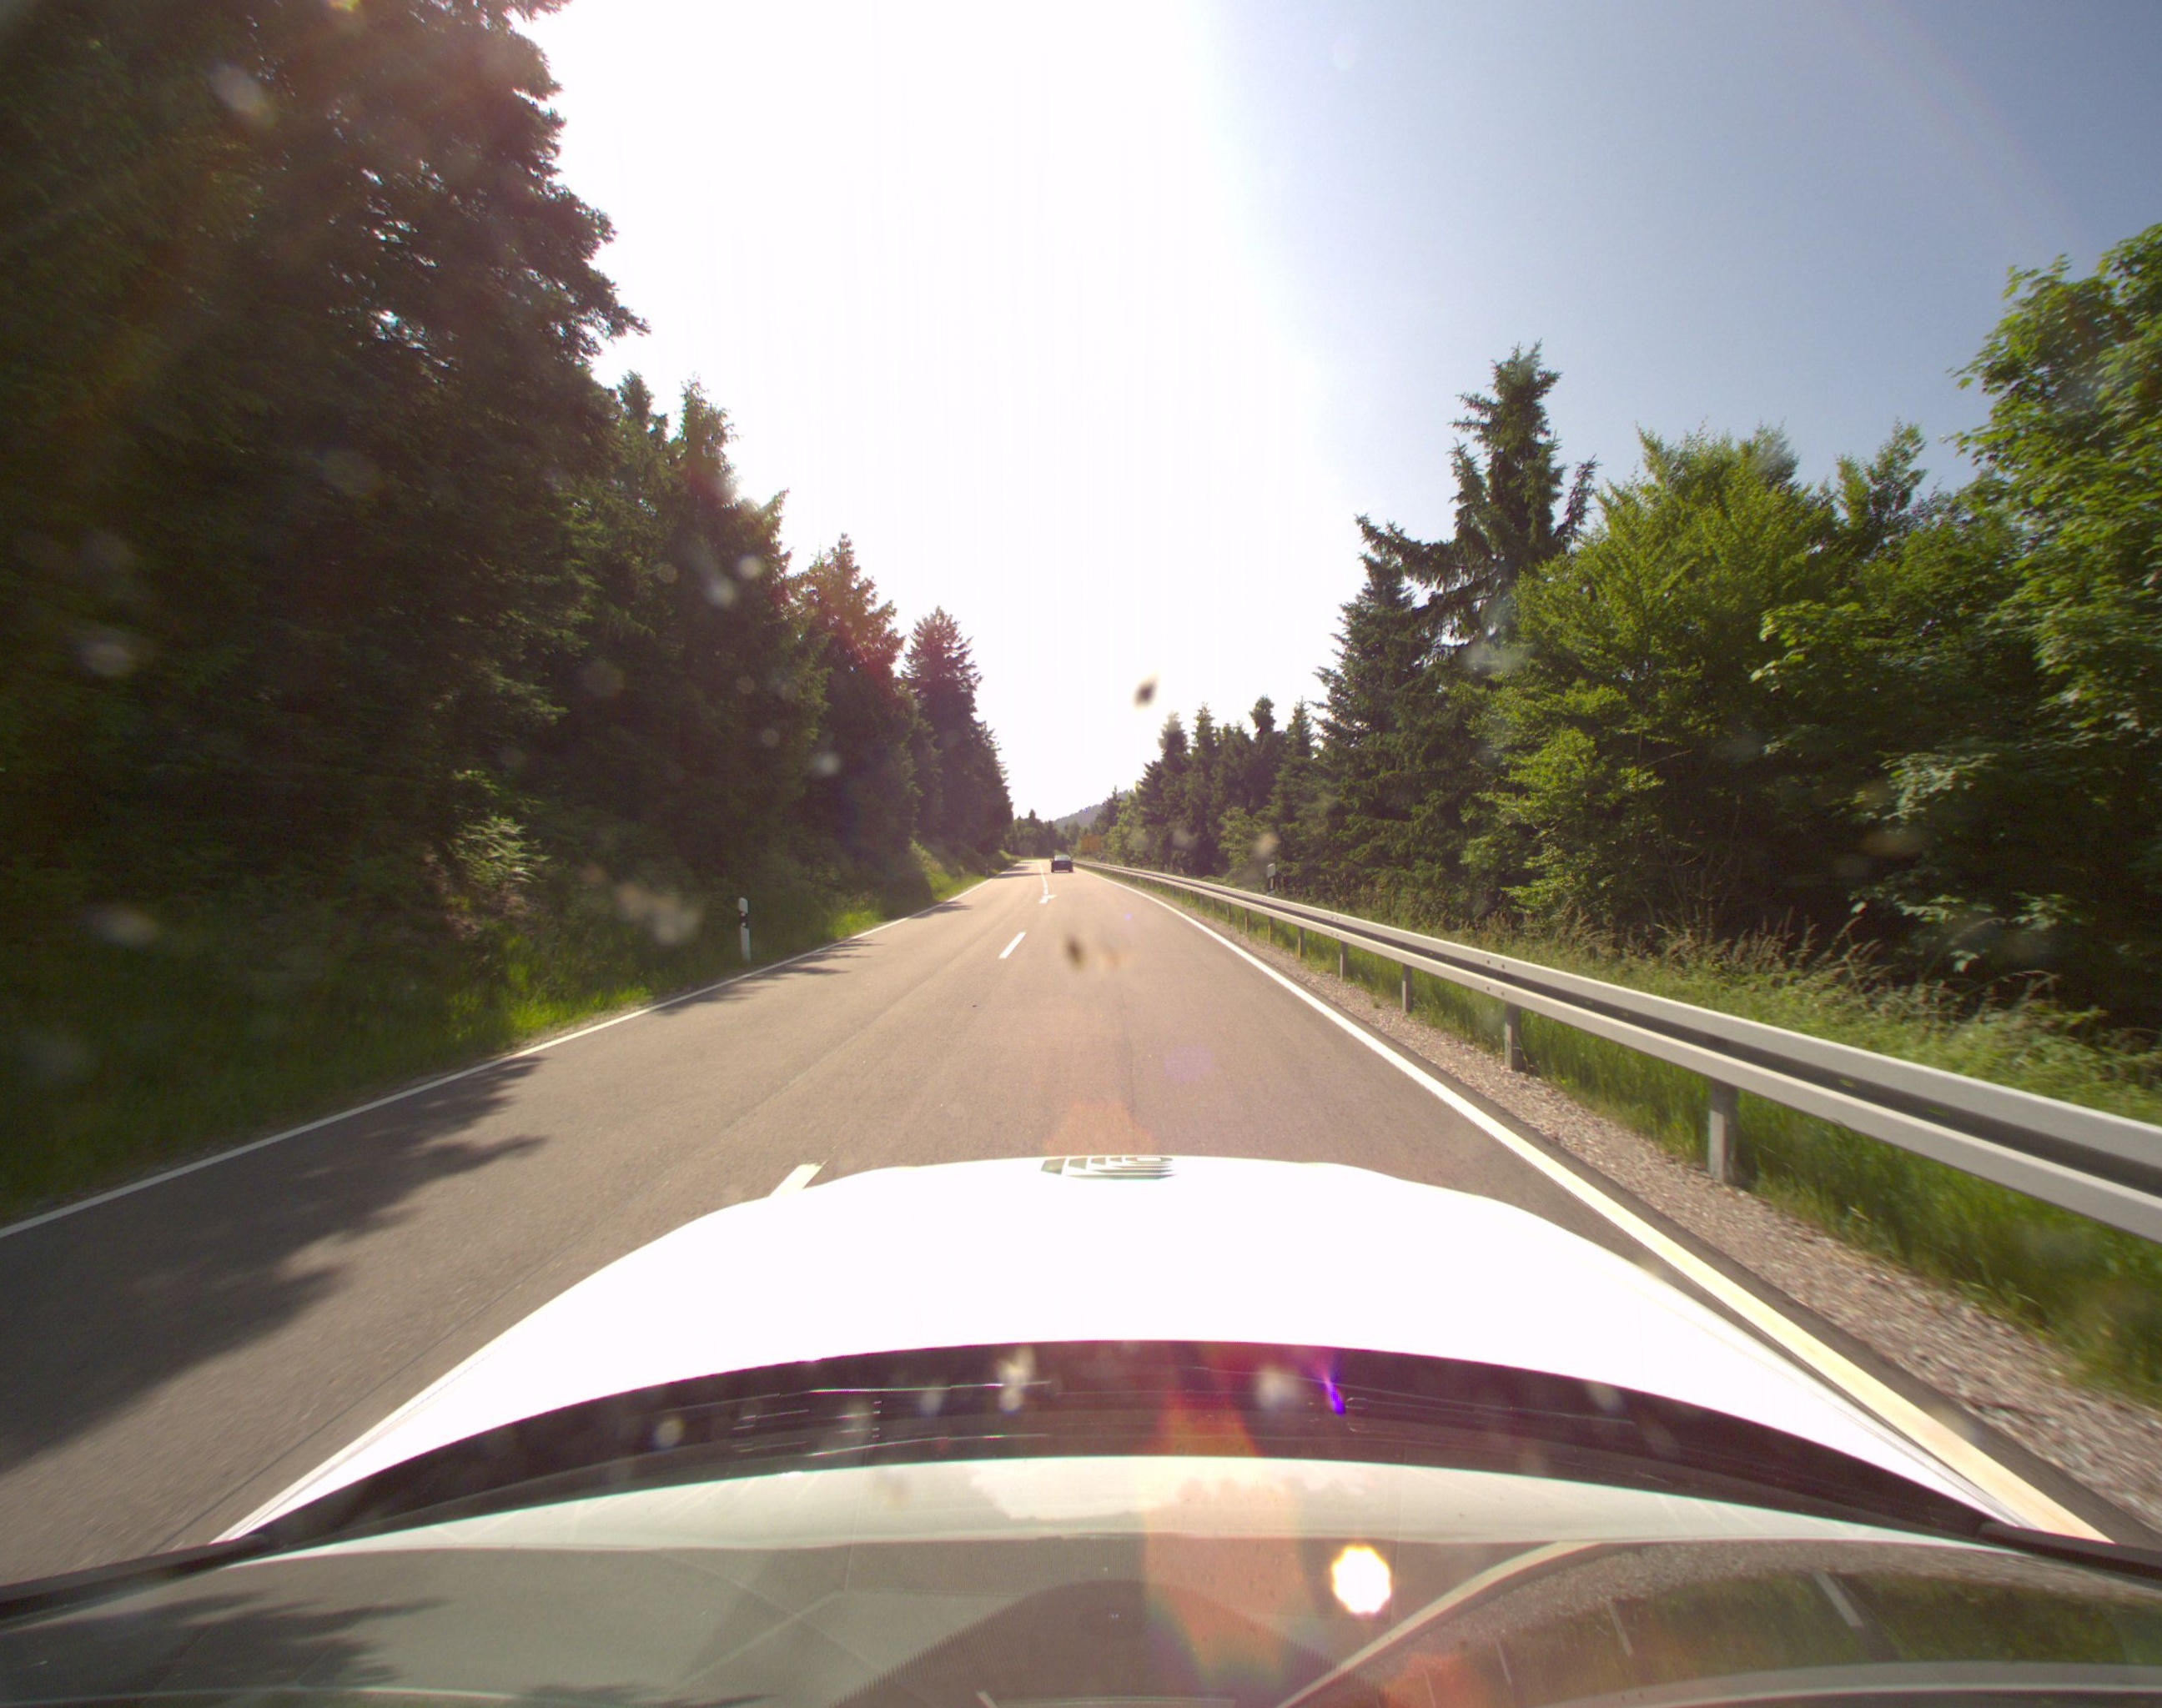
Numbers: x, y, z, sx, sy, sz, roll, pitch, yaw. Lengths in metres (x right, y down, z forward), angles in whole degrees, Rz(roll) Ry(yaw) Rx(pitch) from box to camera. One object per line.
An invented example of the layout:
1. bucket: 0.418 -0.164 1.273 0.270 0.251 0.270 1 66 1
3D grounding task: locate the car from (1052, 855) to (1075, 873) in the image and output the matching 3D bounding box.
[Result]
1. car: -1.475 0.858 68.343 1.773 1.442 3.703 0 -1 -4
